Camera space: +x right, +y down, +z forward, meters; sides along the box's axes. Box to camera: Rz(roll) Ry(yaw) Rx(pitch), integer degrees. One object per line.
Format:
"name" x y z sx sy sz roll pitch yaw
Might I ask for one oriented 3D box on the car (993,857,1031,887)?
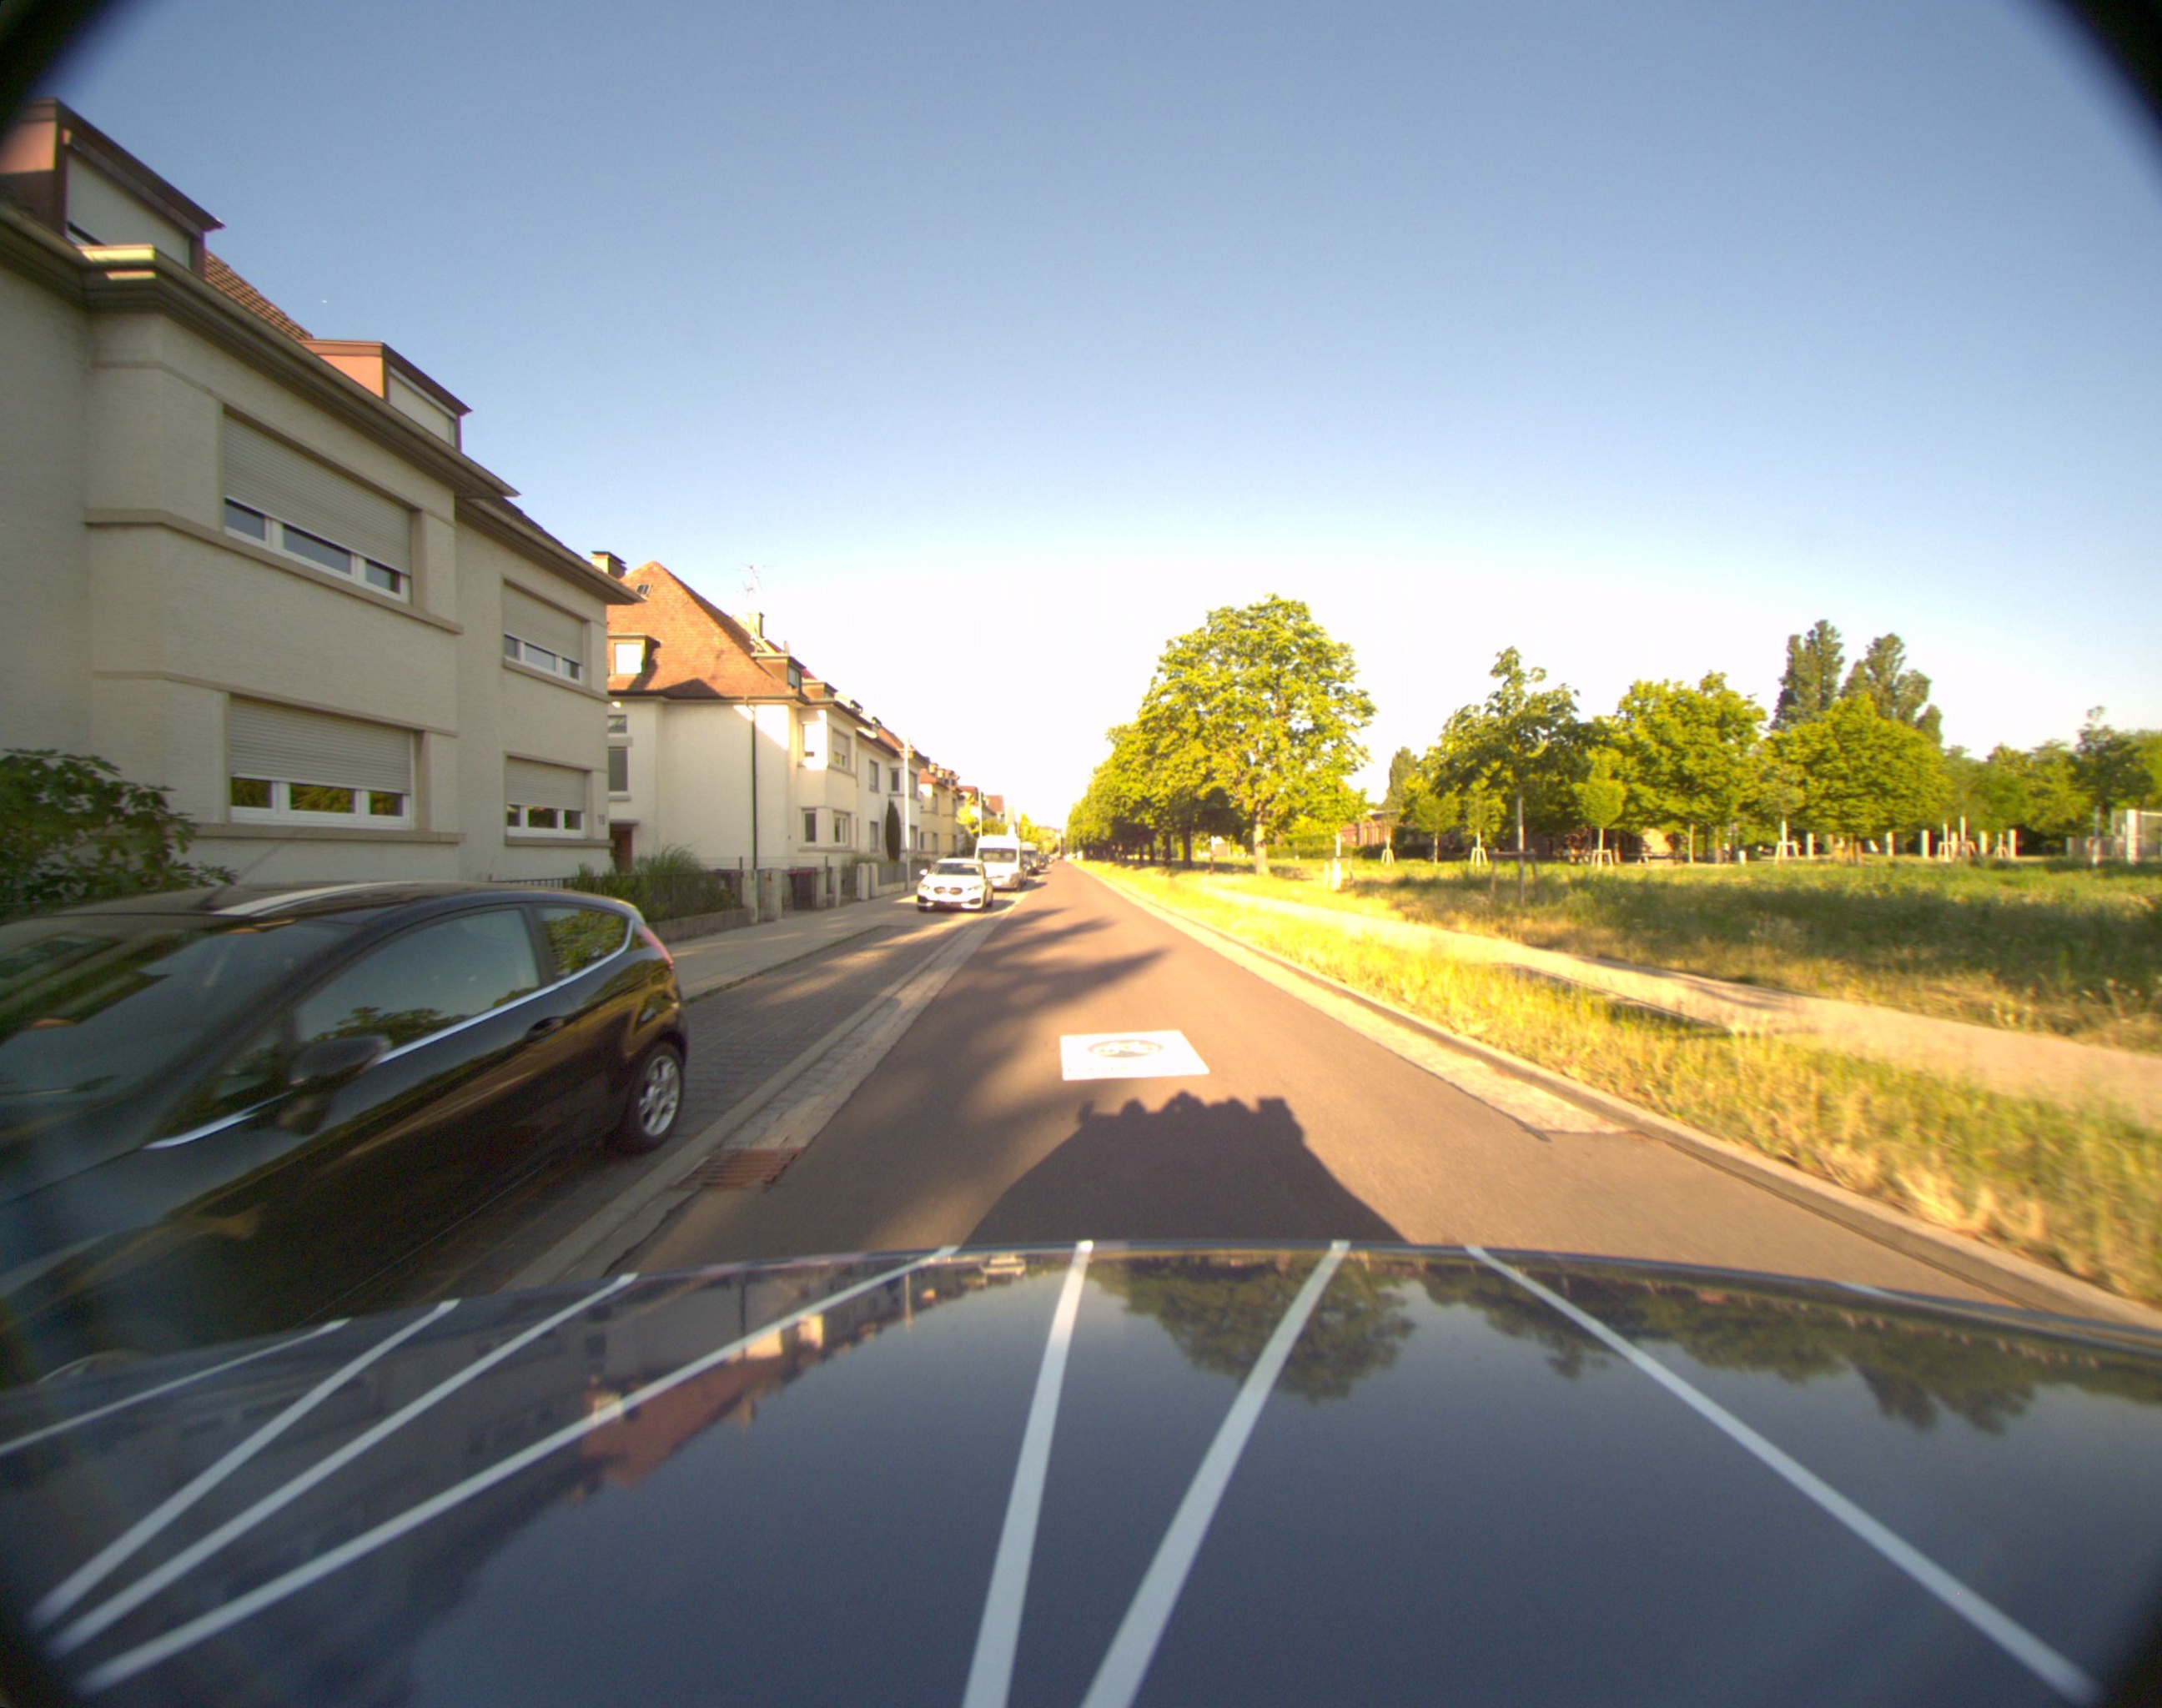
"car" -3.630 0.912 40.546 1.626 1.474 4.107 -1 0 0

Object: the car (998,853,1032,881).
"car" -3.918 0.749 45.757 1.782 1.635 4.479 0 0 -2

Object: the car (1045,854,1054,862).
"car" -7.098 0.910 171.308 1.974 1.630 3.999 1 0 -1

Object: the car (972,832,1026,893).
"car" -3.631 0.351 34.506 2.135 2.503 5.506 1 0 -3

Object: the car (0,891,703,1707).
"car" -3.055 0.975 2.502 1.723 1.463 3.982 2 0 -2

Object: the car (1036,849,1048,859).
"car" -6.719 -0.032 131.766 1.974 1.630 3.999 -1 0 -1

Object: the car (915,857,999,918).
"car" -3.435 0.865 21.742 1.787 1.498 4.232 2 0 -2

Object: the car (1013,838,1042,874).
"car" -4.511 0.154 65.129 2.135 2.837 5.986 -1 0 -1

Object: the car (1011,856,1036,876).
"car" -4.394 0.869 58.814 1.630 1.431 4.004 -1 0 0

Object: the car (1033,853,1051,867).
"car" -4.644 0.684 91.636 1.974 1.630 3.999 1 0 -1
